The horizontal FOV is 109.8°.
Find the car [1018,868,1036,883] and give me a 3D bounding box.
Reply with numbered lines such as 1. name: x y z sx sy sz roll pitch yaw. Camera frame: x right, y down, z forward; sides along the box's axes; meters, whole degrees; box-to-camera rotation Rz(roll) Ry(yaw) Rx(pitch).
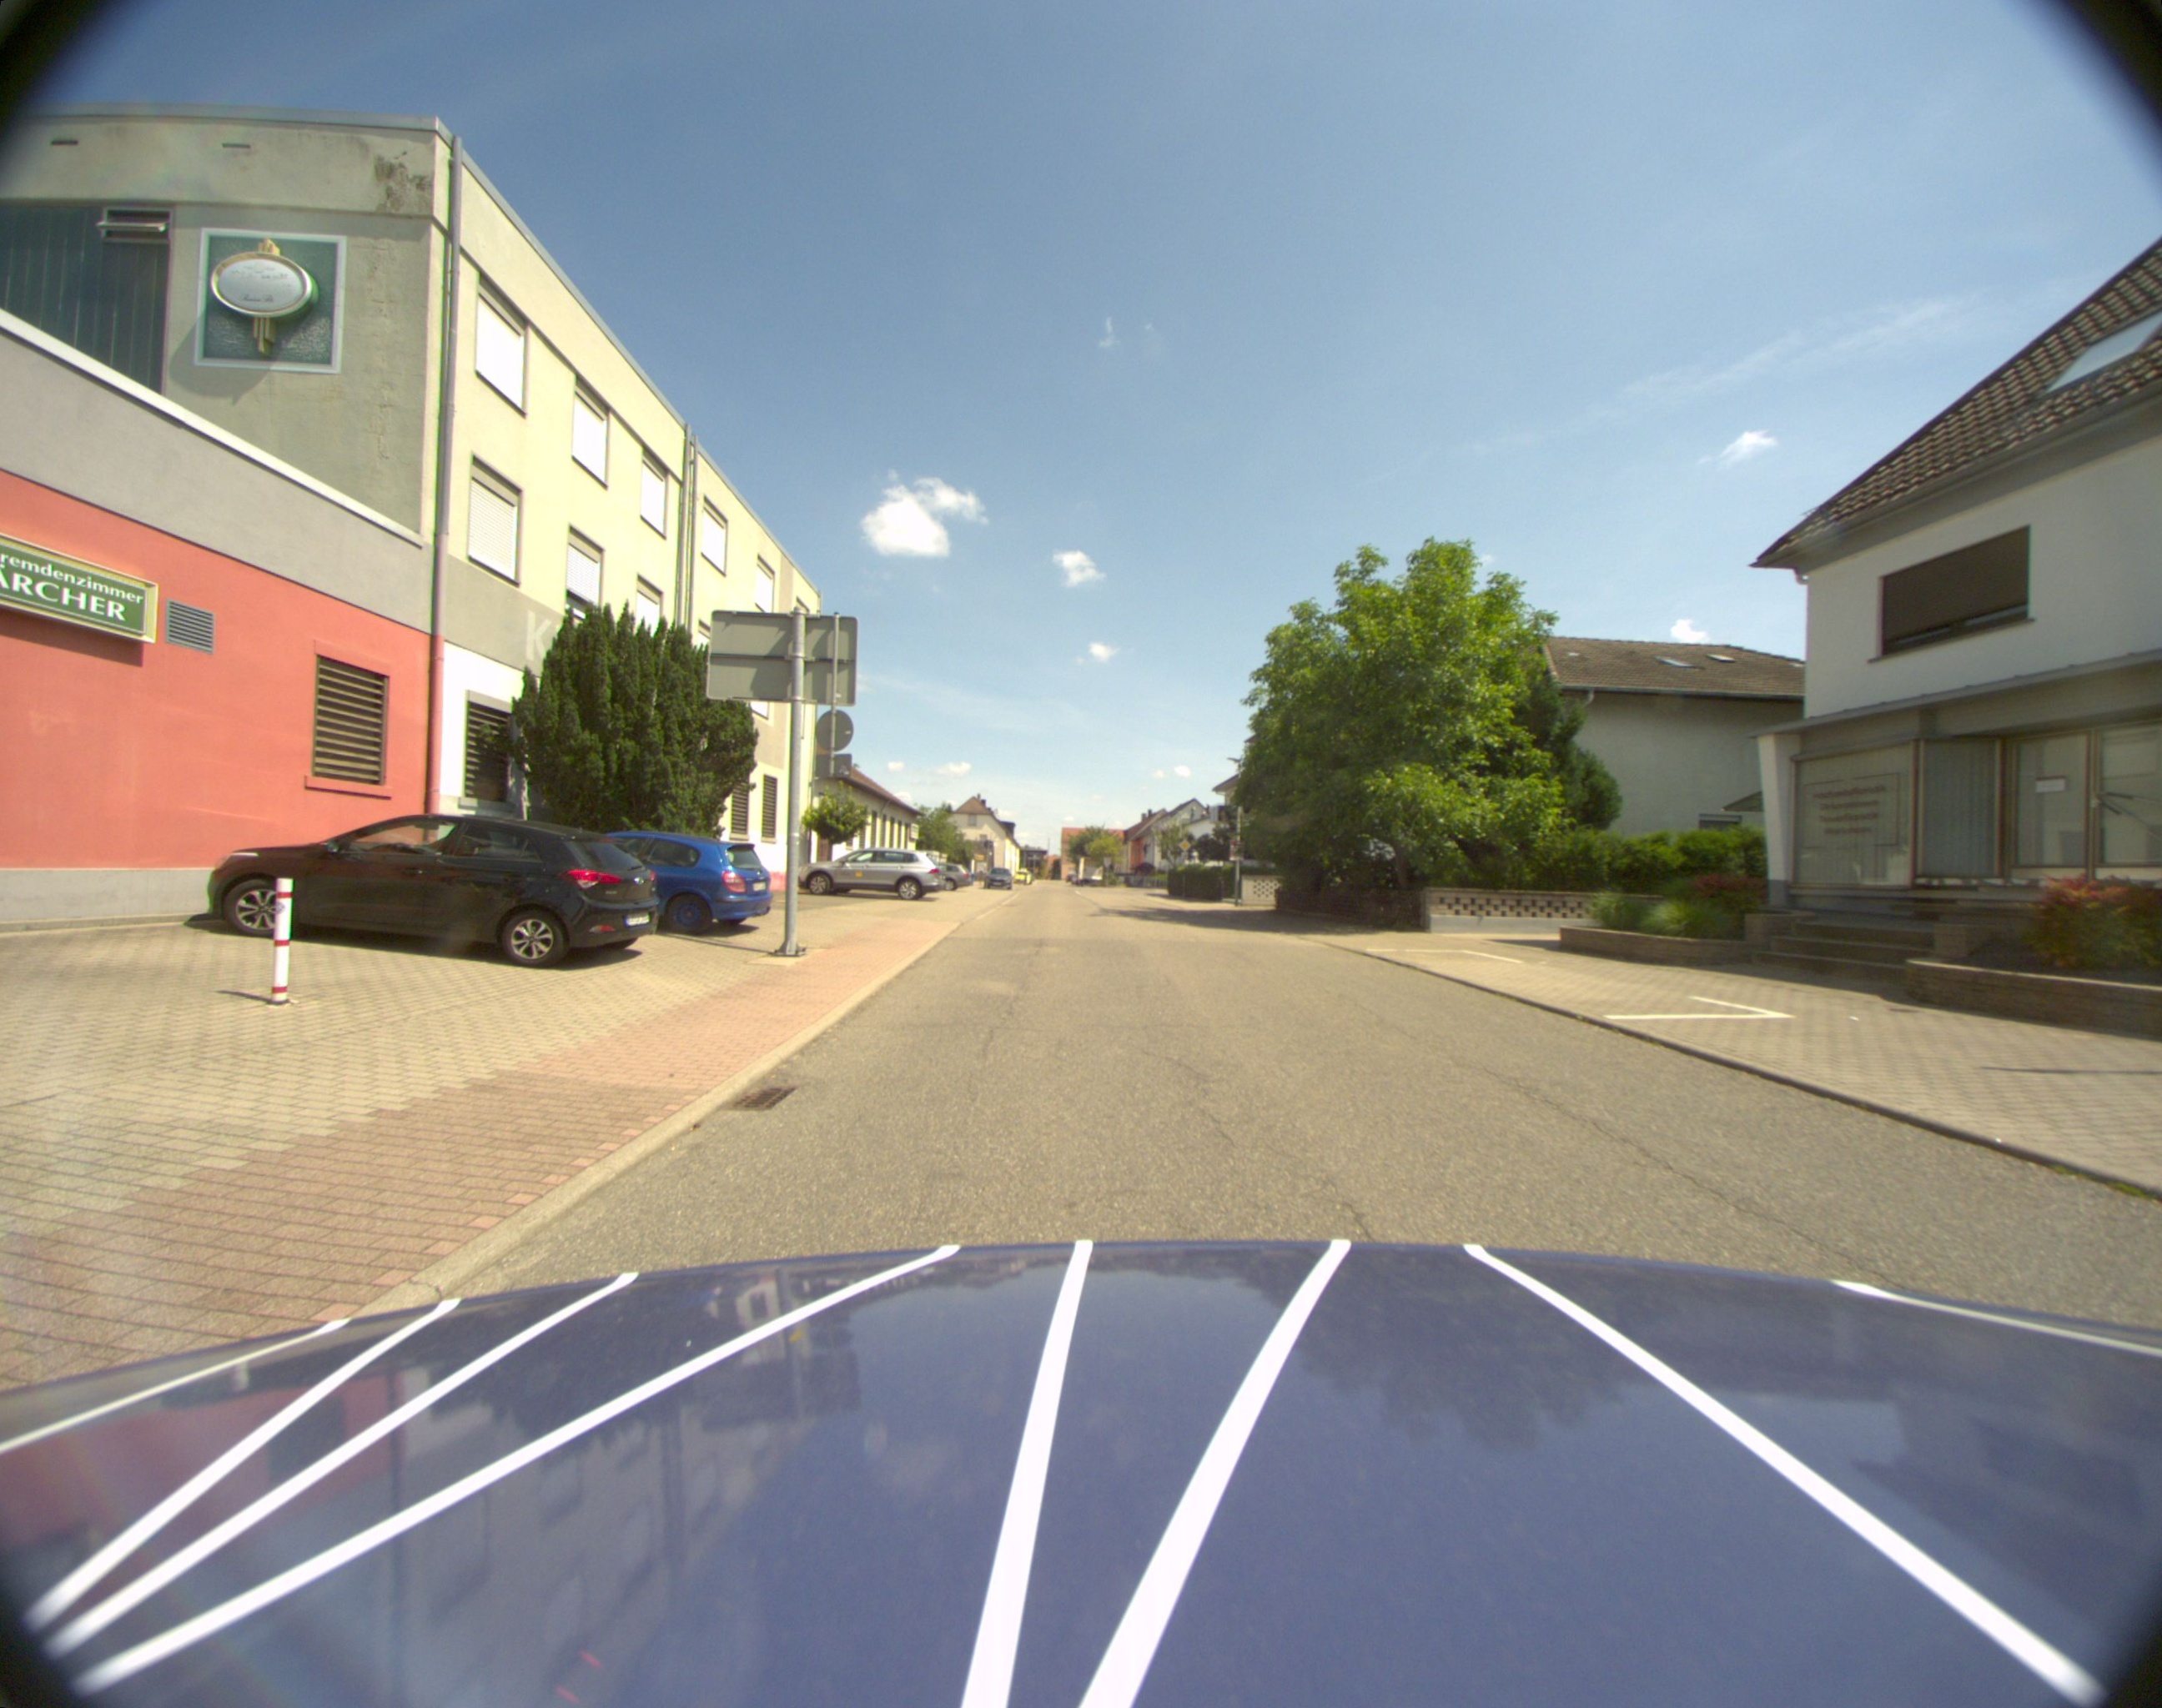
1. car: -6.073 2.449 86.051 1.721 1.491 4.215 6 -2 -2

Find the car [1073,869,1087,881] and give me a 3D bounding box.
1. car: -0.184 2.926 106.746 1.721 1.491 4.215 4 -2 -3

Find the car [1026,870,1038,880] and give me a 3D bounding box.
1. car: -8.415 3.586 130.986 1.721 1.491 4.215 6 -2 -2

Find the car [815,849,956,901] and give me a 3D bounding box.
1. car: -6.943 0.754 27.356 4.513 1.510 2.000 4 -1 -3

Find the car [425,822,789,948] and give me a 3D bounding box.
1. car: -7.041 0.430 11.665 4.335 1.431 1.779 5 1 -3

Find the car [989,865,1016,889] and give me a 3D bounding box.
1. car: -5.281 1.532 51.580 1.632 1.480 4.139 2 -1 -4

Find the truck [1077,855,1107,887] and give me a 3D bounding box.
1. truck: 1.217 1.920 86.422 2.445 3.226 7.035 5 -2 -5

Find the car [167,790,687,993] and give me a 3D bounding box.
1. car: -6.875 0.386 8.404 3.907 1.481 1.809 8 0 -4

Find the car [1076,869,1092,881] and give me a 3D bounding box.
1. car: 0.373 2.763 100.188 1.721 1.491 4.215 4 -2 -3

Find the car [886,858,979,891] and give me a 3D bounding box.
1. car: -7.859 1.098 40.604 4.539 1.445 1.918 3 -1 -2

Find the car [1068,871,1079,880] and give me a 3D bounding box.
1. car: -1.396 3.928 137.054 1.721 1.491 4.215 4 -2 -3

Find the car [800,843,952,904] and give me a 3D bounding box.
1. car: -6.669 0.651 25.094 4.466 1.687 1.922 4 -1 -5

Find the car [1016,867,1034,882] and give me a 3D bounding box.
1. car: -5.959 2.216 81.334 1.721 1.389 4.215 6 -2 -2
